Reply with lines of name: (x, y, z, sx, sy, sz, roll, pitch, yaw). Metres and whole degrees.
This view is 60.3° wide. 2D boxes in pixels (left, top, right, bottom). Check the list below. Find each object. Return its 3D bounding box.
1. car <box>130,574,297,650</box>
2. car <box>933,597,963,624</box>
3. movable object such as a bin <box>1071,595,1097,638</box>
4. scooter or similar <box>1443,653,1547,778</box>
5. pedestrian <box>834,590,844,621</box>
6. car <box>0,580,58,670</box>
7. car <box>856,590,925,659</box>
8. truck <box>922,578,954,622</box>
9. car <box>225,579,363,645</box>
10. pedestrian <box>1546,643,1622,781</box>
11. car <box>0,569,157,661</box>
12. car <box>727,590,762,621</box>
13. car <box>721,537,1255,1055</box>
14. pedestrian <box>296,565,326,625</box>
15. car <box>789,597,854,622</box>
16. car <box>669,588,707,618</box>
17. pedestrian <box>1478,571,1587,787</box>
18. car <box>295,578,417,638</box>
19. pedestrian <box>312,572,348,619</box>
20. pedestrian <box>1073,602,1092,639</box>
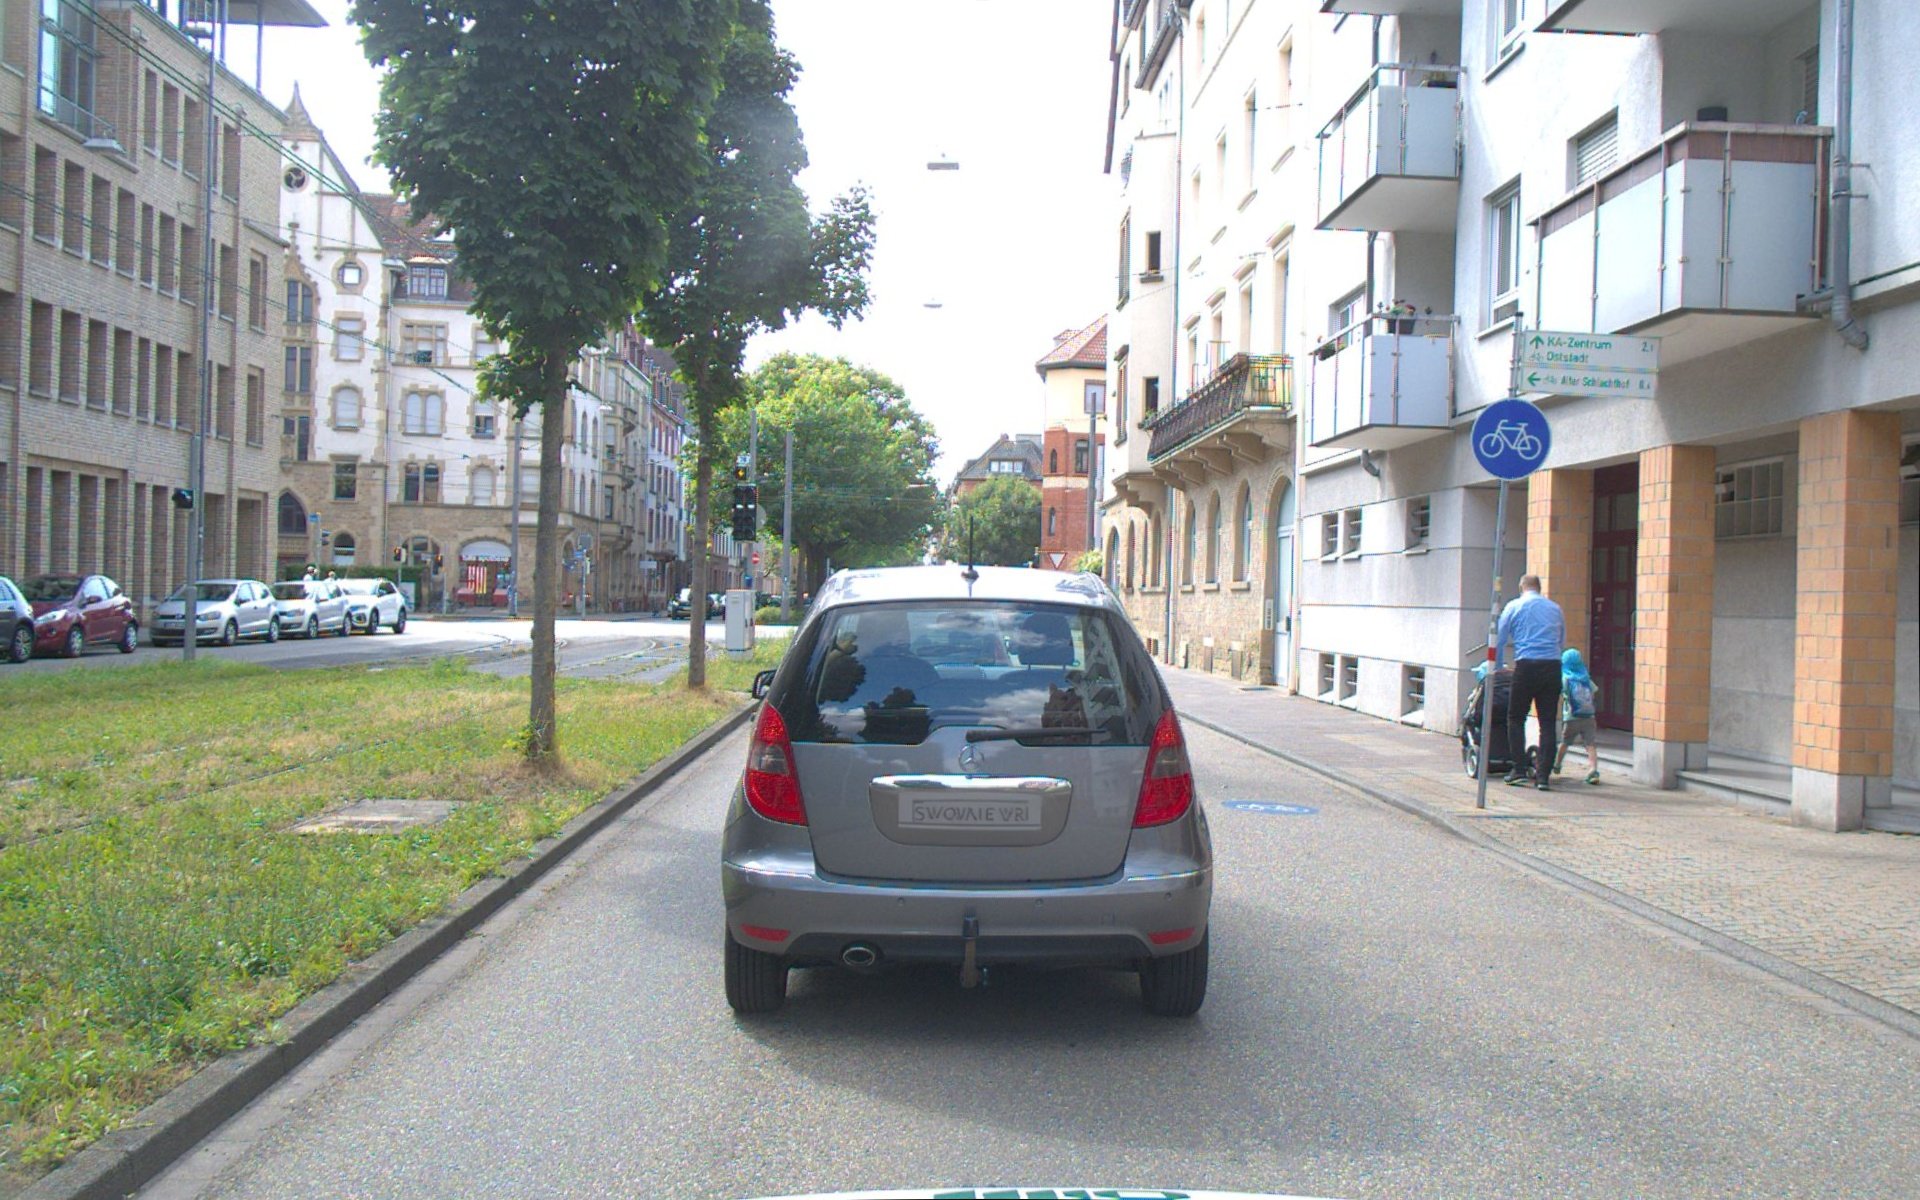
car: (-16.571, 0.257, 36.950, 1.813, 1.557, 4.209, 1, 0, -1)
car: (-0.740, 0.652, 103.952, 1.716, 1.661, 3.500, 2, 0, 2)
movable object such as a bin: (4.454, 0.593, 59.349, 0.701, 1.497, 0.980, 1, 0, -10)
scooter or similar: (4.764, 1.016, 14.771, 0.580, 1.019, 0.905, -3, 0, -1)
pedestrian: (-6.871, 0.324, 93.866, 0.484, 1.755, 0.652, 2, 0, -10)
car: (-16.176, 0.378, 25.806, 1.893, 1.420, 4.238, 1, 0, -1)
car: (-1.811, 0.624, 44.022, 1.687, 1.736, 3.676, 1, 0, -1)
truck: (-1.530, -0.023, 116.903, 2.079, 3.022, 4.001, 1, 0, 2)
car: (-16.869, 0.291, 42.128, 1.893, 1.557, 4.014, 1, 0, -1)
pedestrian: (5.416, 0.967, 14.374, 0.447, 1.154, 0.494, -1, 0, -1)
car: (-16.388, 0.253, 30.361, 1.550, 1.557, 3.549, 1, 0, -1)
car: (-12.643, 0.312, 97.030, 1.955, 1.758, 3.994, 1, 0, -7)
car: (0.067, 0.631, 7.112, 1.687, 1.633, 3.676, 1, 0, -1)
pedestrian: (-20.271, -0.157, 51.647, 0.751, 1.827, 0.952, 2, 0, -27)
car: (-8.264, 0.540, 98.445, 1.957, 1.362, 3.941, 2, 0, -41)
car: (-15.695, 0.178, 95.446, 1.955, 1.646, 3.994, 1, 0, -7)
pedestrian: (4.839, 0.648, 14.024, 0.608, 1.769, 0.877, 0, 0, -1)
car: (-16.977, 0.216, 46.690, 1.893, 1.561, 4.257, 1, 0, -1)
pedestrian: (-23.998, -0.173, 63.018, 0.763, 1.752, 1.017, 1, 0, 44)
pedestrian: (5.821, 0.963, 78.434, 0.851, 1.685, 0.736, 1, 0, 3)
